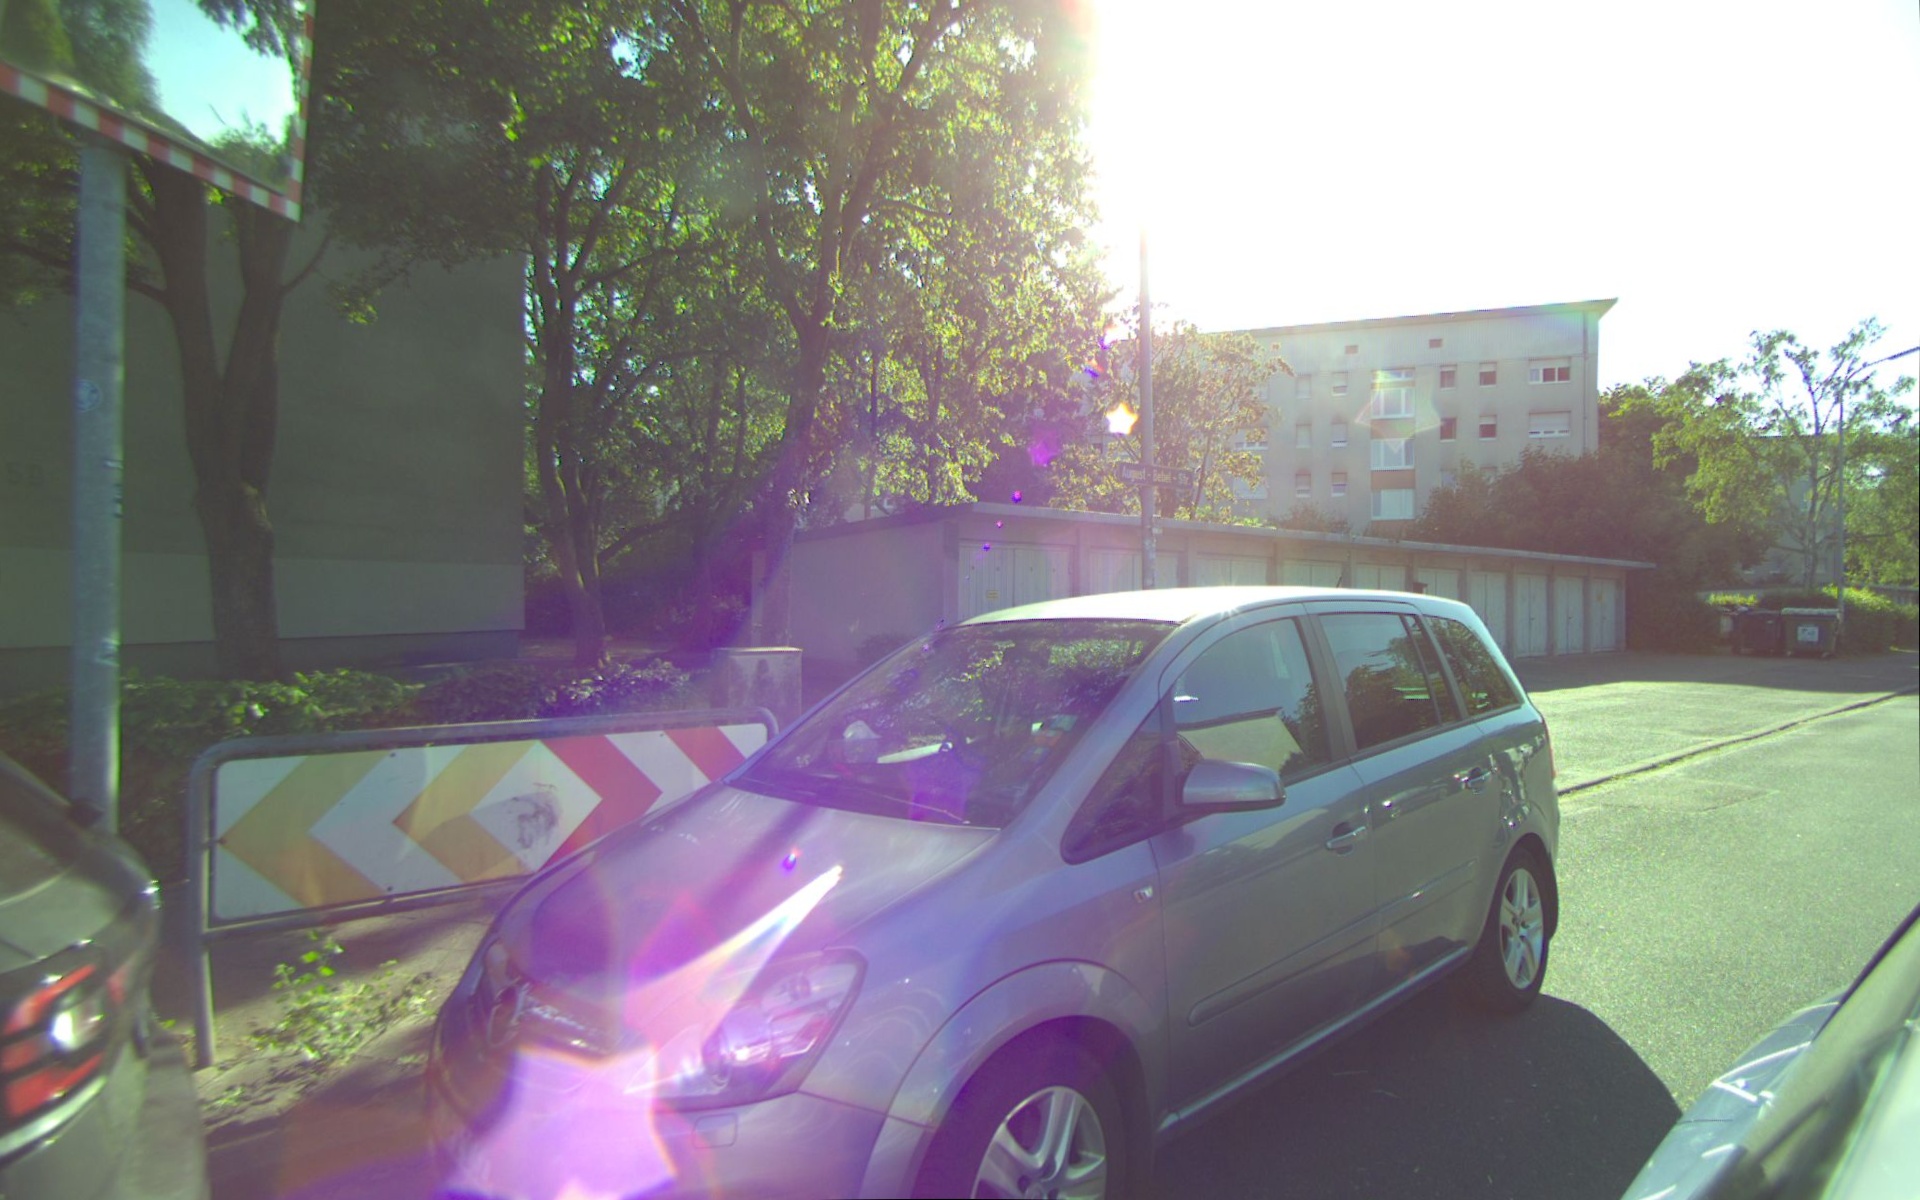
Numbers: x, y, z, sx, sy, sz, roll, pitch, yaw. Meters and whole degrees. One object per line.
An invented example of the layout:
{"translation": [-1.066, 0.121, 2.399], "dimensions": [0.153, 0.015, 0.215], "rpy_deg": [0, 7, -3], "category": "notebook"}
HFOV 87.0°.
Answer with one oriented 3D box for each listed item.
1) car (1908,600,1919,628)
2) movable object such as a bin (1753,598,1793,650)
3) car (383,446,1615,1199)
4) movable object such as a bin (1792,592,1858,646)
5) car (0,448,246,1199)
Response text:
{"translation": [54.235, 0.697, 55.267], "dimensions": [1.577, 1.527, 3.494], "rpy_deg": [-1, -2, -45], "category": "car"}
{"translation": [23.816, 0.697, 29.638], "dimensions": [0.833, 1.460, 0.753], "rpy_deg": [-1, 2, -41], "category": "movable object such as a bin"}
{"translation": [0.585, 0.586, 3.582], "dimensions": [4.297, 1.631, 1.770], "rpy_deg": [-1, -2, -41], "category": "car"}
{"translation": [24.881, 0.524, 29.119], "dimensions": [1.159, 1.460, 1.277], "rpy_deg": [-1, 2, -41], "category": "movable object such as a bin"}
{"translation": [-2.908, 0.686, 0.585], "dimensions": [3.953, 1.614, 1.807], "rpy_deg": [0, -2, -41], "category": "car"}
